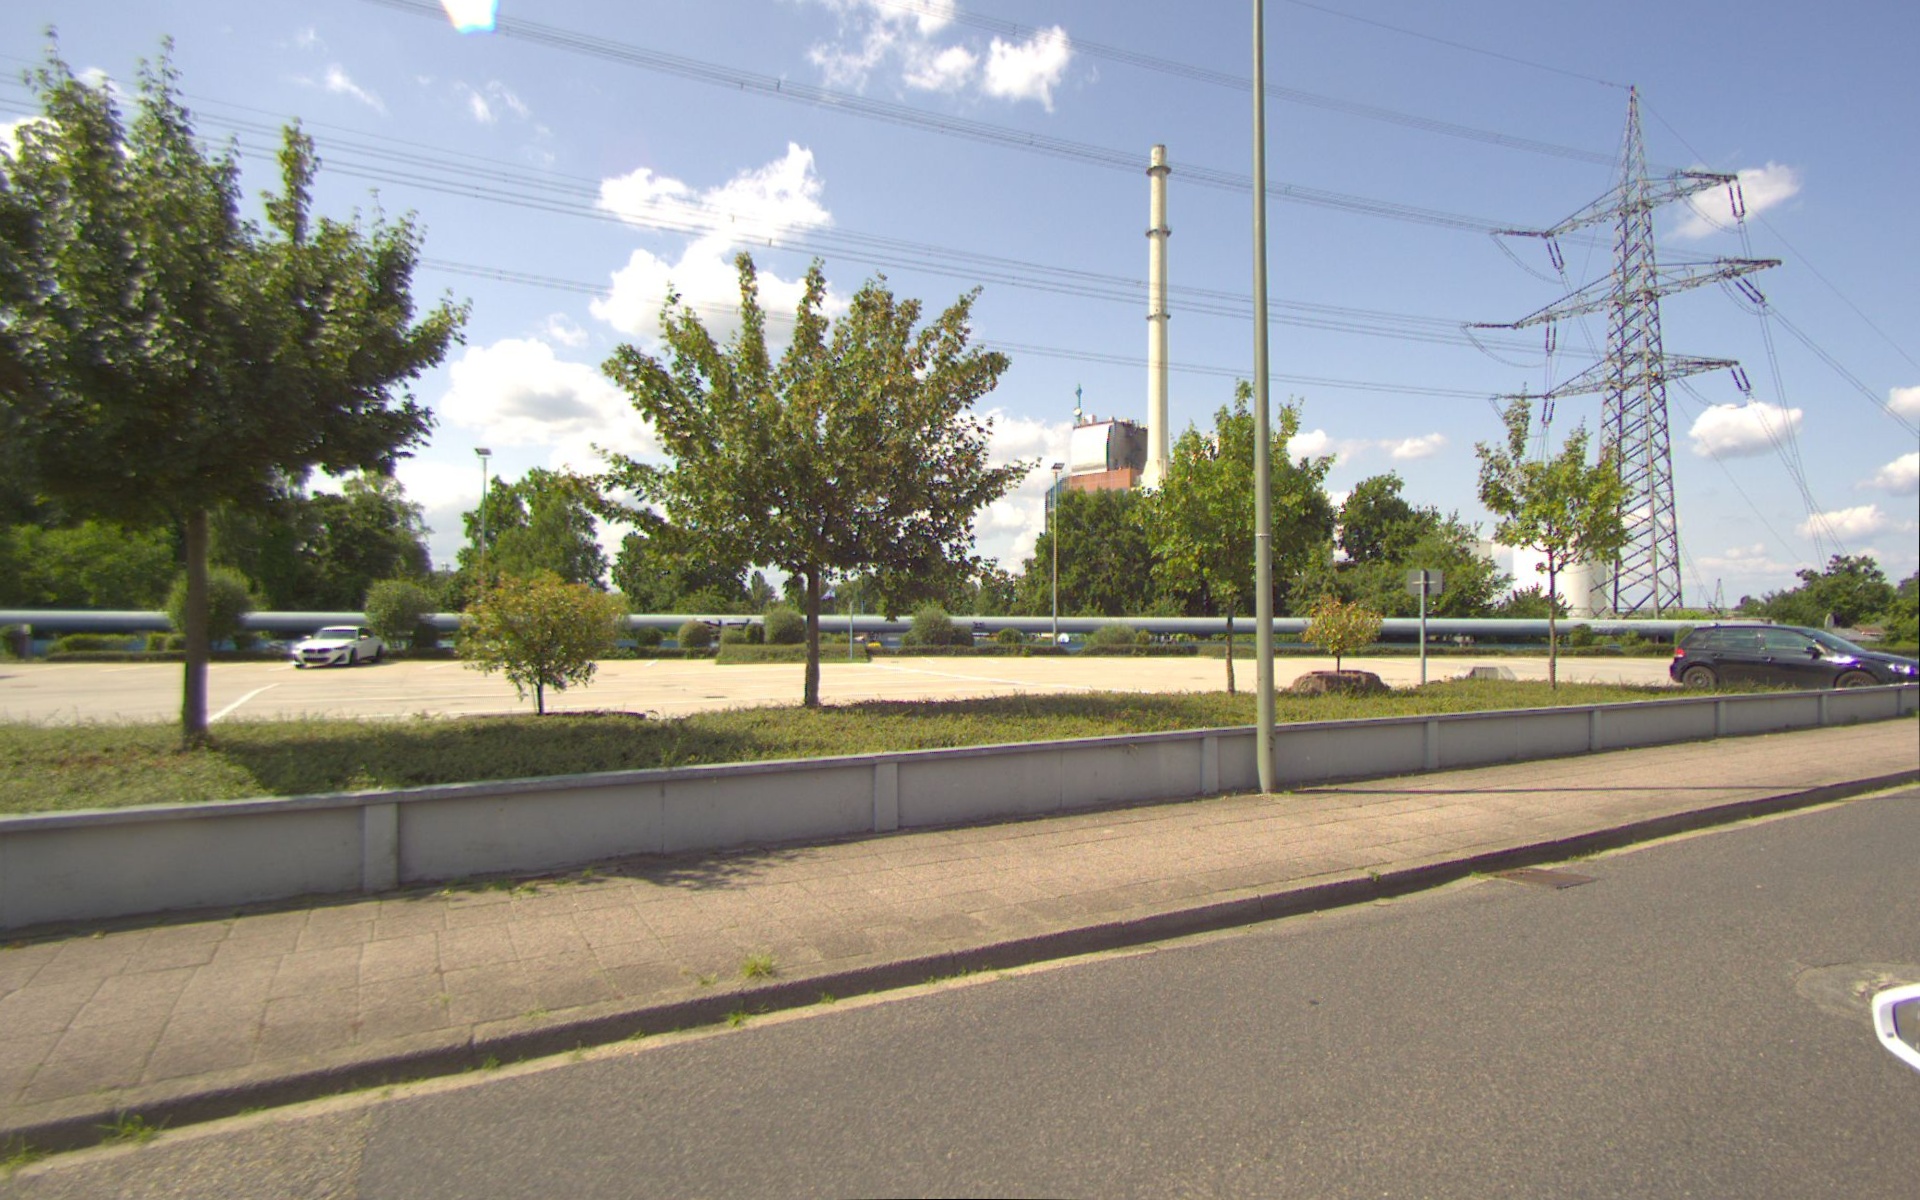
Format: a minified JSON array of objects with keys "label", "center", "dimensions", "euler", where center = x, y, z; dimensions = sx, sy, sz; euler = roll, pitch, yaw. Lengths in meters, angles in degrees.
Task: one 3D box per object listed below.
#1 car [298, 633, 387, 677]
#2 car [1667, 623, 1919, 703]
[{"label":"car","center":[-22.233,1.944,36.319],"dimensions":[1.774,1.493,3.813],"euler":[0,-2,-16]},{"label":"car","center":[16.560,1.171,19.760],"dimensions":[1.782,1.394,3.969],"euler":[0,-2,-30]}]
